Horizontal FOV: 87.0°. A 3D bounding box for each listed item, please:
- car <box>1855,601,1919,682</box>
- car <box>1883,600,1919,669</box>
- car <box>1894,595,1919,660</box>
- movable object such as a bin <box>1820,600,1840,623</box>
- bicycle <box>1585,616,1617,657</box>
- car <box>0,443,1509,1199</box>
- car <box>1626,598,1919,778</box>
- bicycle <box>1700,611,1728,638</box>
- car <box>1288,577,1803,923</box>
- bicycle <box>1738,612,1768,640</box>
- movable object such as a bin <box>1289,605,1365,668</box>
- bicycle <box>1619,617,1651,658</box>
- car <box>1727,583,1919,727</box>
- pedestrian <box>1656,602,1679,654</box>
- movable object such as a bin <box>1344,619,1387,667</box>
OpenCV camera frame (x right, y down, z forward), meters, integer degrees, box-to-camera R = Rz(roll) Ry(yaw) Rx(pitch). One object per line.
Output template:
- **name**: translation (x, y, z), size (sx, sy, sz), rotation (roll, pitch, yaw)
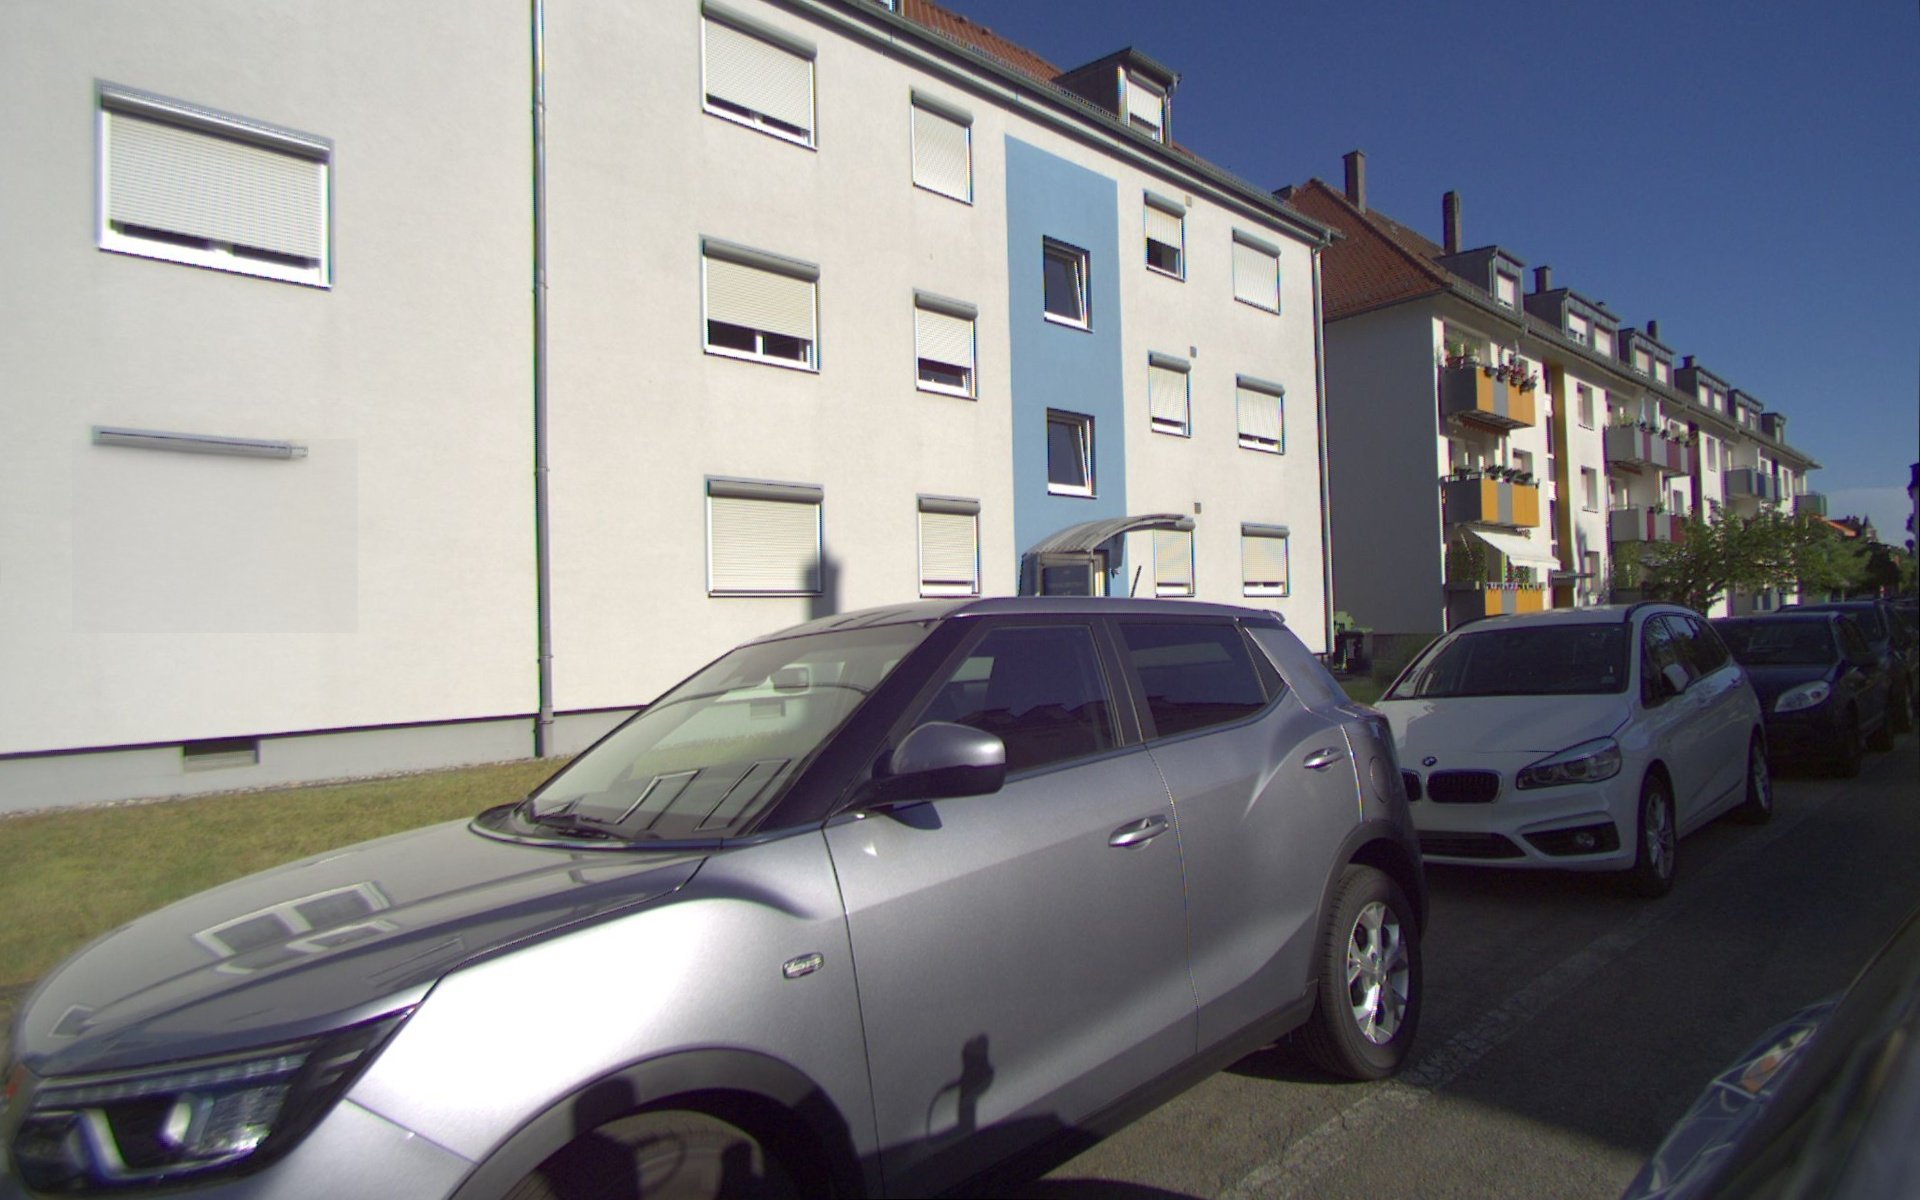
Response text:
- **car**: translation (19.639, 0.808, 20.616), size (2.886, 1.549, 1.483), rotation (0, -4, -37)
- **car**: translation (22.782, 0.744, 23.397), size (3.916, 1.511, 1.695), rotation (0, -4, -42)
- **car**: translation (26.686, 0.662, 26.883), size (4.905, 1.634, 1.997), rotation (0, -4, -39)
- **movable object such as a bin**: translation (57.598, 0.775, 67.023), size (0.906, 1.539, 0.864), rotation (0, -1, -43)
- **bicycle**: translation (18.354, 1.036, 28.969), size (1.250, 1.147, 0.403), rotation (0, -2, -41)
- **car**: translation (-0.074, 0.715, 3.130), size (4.377, 1.639, 1.751), rotation (0, -4, -43)
- **car**: translation (8.550, 0.760, 10.491), size (4.083, 1.518, 1.644), rotation (0, -2, -40)
- **bicycle**: translation (30.589, 0.995, 41.057), size (1.940, 1.050, 0.521), rotation (0, -1, -41)
- **car**: translation (4.140, 0.737, 6.804), size (4.359, 1.595, 1.692), rotation (0, -3, -42)
- **bicycle**: translation (31.347, 1.007, 39.968), size (2.248, 1.062, 0.521), rotation (0, 0, -41)
- **movable object such as a bin**: translation (8.829, 0.851, 24.334), size (1.087, 1.424, 1.330), rotation (-3, 1, -40)
- **bicycle**: translation (18.777, 1.030, 28.139), size (1.276, 1.100, 0.404), rotation (0, -1, -41)
- **car**: translation (12.250, 0.688, 13.872), size (4.389, 1.670, 1.786), rotation (0, -3, -40)
- **pedestrian**: translation (21.183, 0.831, 30.290), size (0.354, 1.514, 0.451), rotation (-2, 0, -40)
- **movable object such as a bin**: translation (9.416, 0.989, 23.517), size (0.744, 1.047, 0.644), rotation (-3, 1, -40)
